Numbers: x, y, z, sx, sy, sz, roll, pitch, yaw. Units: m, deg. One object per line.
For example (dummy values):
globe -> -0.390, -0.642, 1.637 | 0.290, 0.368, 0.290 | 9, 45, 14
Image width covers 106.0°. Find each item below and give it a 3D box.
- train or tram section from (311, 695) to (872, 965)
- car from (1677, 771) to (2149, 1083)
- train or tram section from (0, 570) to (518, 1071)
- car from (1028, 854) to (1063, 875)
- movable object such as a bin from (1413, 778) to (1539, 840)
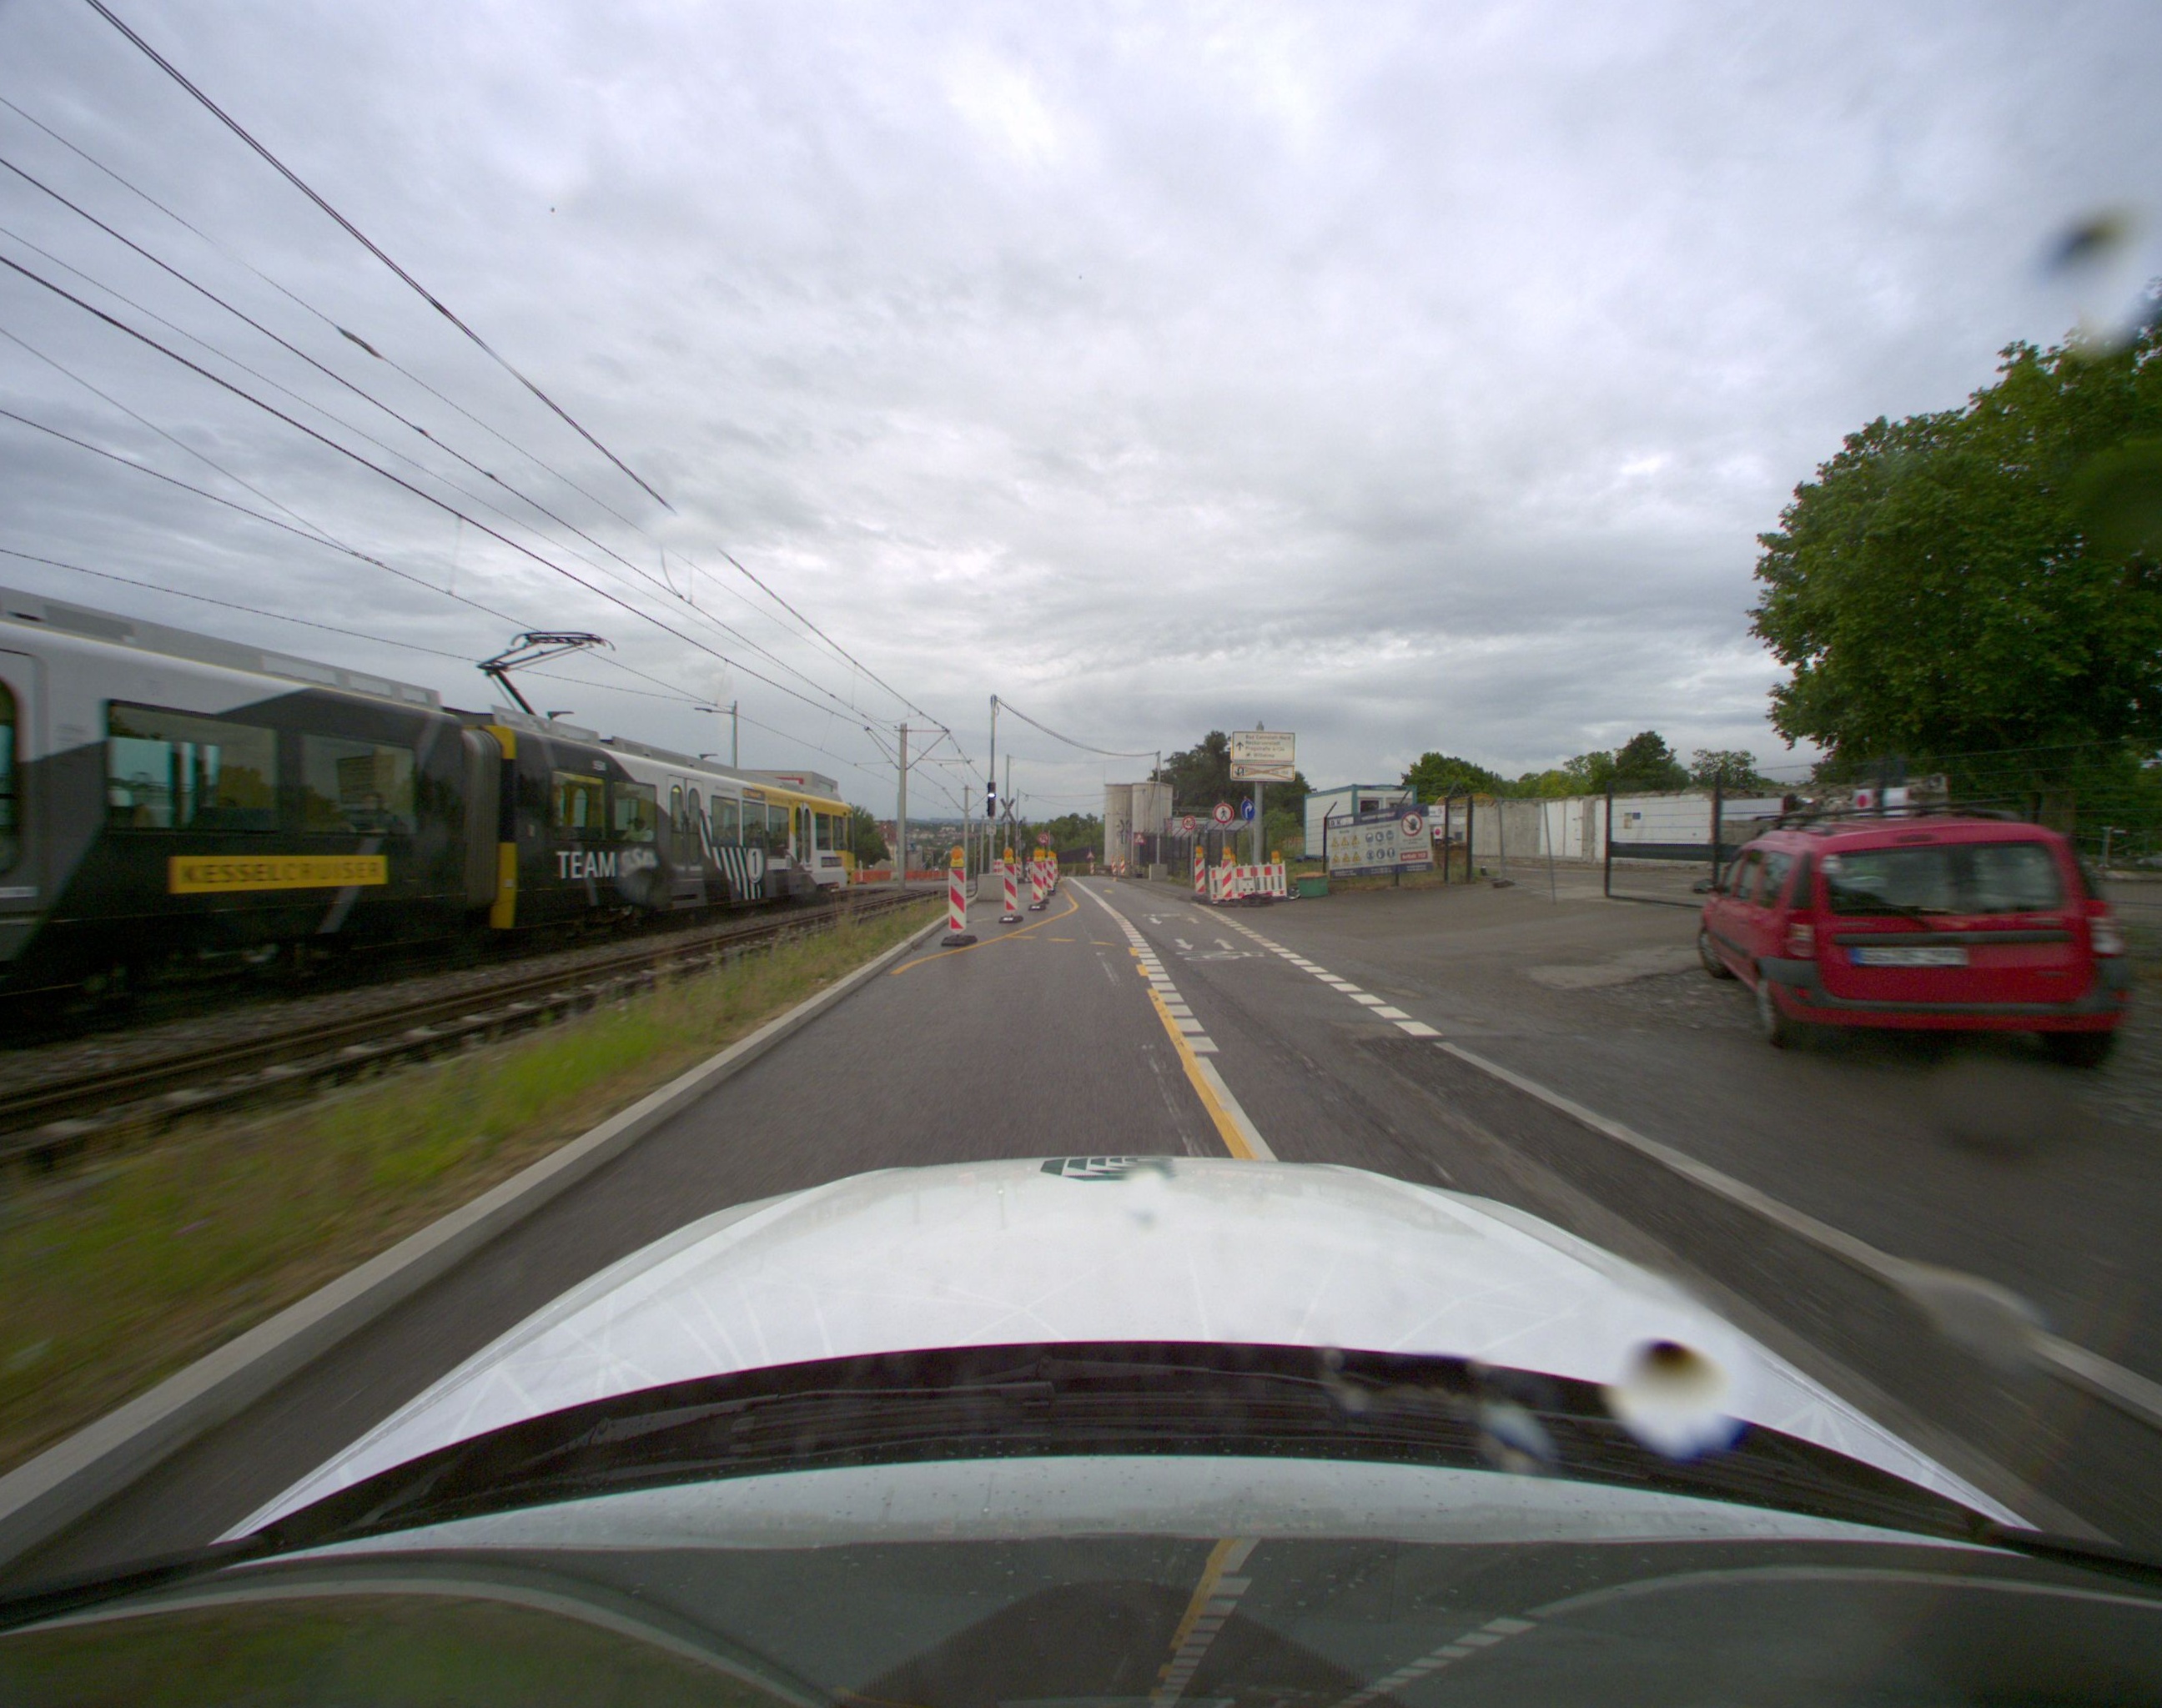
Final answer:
train or tram section -> -9.611, -0.378, 21.521 | 2.945, 3.886, 19.291 | 1, 0, 1
car -> 6.514, 0.404, 7.046 | 1.802, 1.794, 4.436 | 0, 0, 31
train or tram section -> -9.971, -0.272, 2.084 | 2.944, 3.886, 19.578 | 1, 0, 2
car -> -2.998, 0.891, 68.360 | 1.997, 1.678, 4.465 | -1, -1, -15
movable object such as a bin -> 40.747, -4.529, 84.366 | 11.168, 5.995, 3.499 | -1, -1, 8
